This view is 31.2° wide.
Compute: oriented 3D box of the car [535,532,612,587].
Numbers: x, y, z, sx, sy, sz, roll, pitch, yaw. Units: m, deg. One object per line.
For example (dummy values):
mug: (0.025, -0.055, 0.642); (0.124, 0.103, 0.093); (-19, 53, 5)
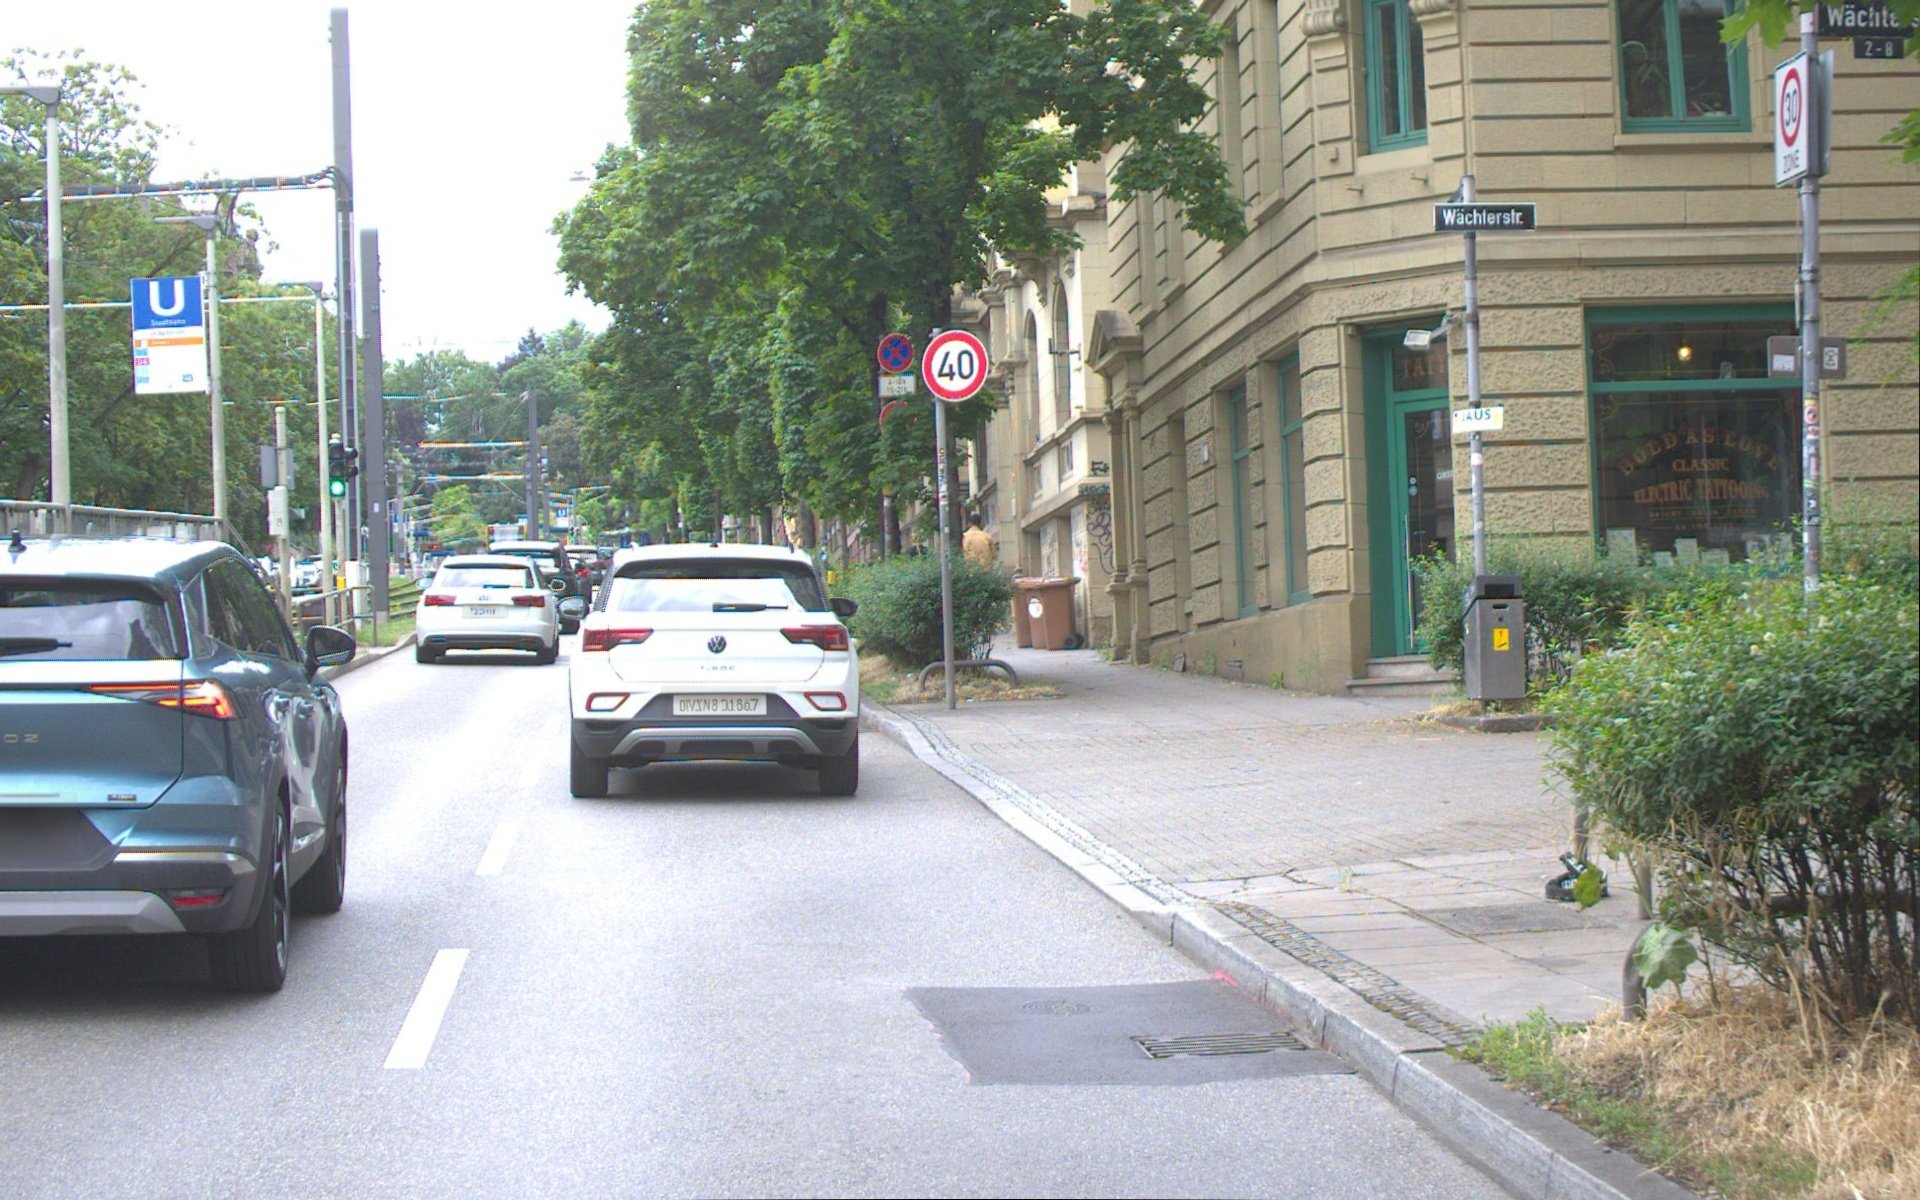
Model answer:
car: (-11.163, -1.151, 99.200); (2.068, 1.541, 4.194); (0, 0, -8)

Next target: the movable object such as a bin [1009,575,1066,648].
movable object such as a bin: (1.011, 0.151, 44.857); (0.493, 0.916, 0.500); (-3, 1, 43)

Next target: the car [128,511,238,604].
car: (-24.326, -1.327, 107.866); (2.392, 2.690, 6.519); (-3, 1, -5)

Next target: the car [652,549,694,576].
car: (-16.523, -2.160, 197.926); (2.067, 1.541, 4.194); (0, 0, -9)

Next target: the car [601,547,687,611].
car: (-7.895, -0.531, 85.667); (2.068, 1.541, 4.194); (0, 0, -6)

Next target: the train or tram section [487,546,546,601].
train or tram section: (-28.139, -1.689, 218.690); (2.995, 3.337, 13.441); (-1, 1, -4)

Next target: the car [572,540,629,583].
car: (-13.335, -1.408, 127.277); (2.068, 1.541, 4.194); (0, 0, -7)

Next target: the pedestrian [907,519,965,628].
pedestrian: (-0.362, -0.404, 51.121); (0.685, 1.569, 1.217); (-3, 1, -5)

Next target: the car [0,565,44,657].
car: (-19.309, 0.217, 67.579); (1.709, 1.730, 4.577); (-2, 1, -5)

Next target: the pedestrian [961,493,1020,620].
pedestrian: (0.449, -0.642, 51.153); (0.685, 1.823, 1.121); (-3, 0, -5)

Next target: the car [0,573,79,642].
car: (-21.293, 0.164, 78.164); (1.678, 1.442, 4.219); (-2, 1, -5)

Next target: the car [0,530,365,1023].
car: (-3.327, 0.537, 12.832); (1.835, 1.541, 4.194); (0, 0, -5)

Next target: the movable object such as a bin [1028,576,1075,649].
movable object such as a bin: (1.176, 0.159, 44.214); (0.500, 0.916, 0.443); (-1, 1, 14)

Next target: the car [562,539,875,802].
car: (-1.650, 0.401, 22.331); (1.835, 1.541, 4.194); (0, 0, -6)

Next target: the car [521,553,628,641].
car: (-7.013, -0.066, 62.868); (1.835, 1.541, 4.194); (0, 0, -5)

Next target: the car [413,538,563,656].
car: (-6.435, -0.054, 47.235); (1.835, 1.541, 4.194); (0, 0, -5)

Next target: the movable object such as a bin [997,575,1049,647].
movable object such as a bin: (0.830, 0.140, 45.434); (0.611, 0.916, 0.493); (-3, 1, -3)
